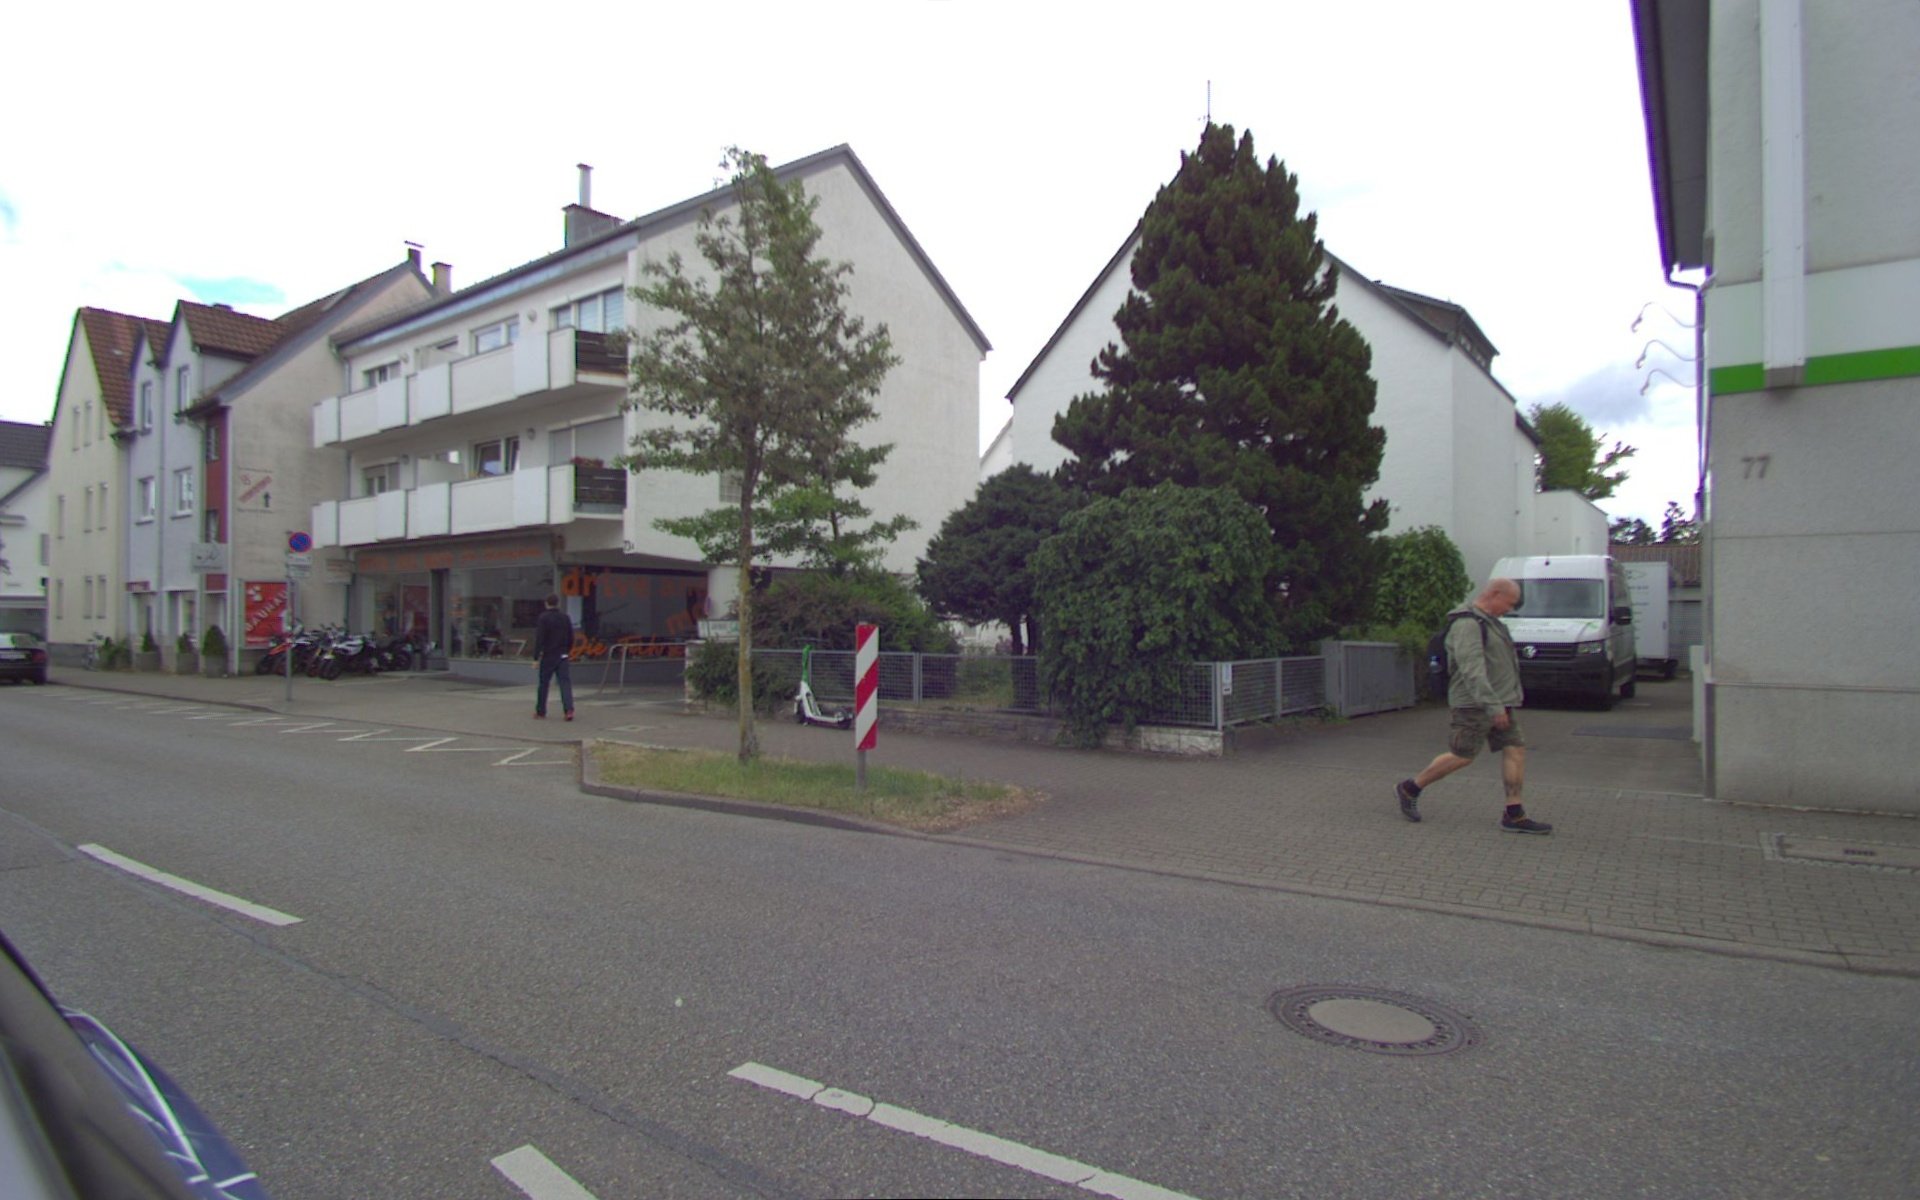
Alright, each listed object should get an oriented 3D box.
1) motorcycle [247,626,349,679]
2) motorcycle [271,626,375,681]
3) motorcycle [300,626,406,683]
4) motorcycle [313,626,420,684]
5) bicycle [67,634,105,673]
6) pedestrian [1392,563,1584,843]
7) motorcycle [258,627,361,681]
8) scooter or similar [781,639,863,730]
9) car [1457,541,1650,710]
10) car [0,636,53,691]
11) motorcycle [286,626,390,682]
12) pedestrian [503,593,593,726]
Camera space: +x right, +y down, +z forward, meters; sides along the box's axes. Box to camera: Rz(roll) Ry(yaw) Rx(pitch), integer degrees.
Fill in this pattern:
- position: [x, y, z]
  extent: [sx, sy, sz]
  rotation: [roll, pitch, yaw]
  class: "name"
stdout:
- position: [-17.965, 1.395, 27.515]
  extent: [0.612, 1.275, 2.205]
  rotation: [-1, 1, 36]
  class: "motorcycle"
- position: [-16.760, 1.379, 26.677]
  extent: [0.698, 1.275, 2.205]
  rotation: [-1, 1, 36]
  class: "motorcycle"
- position: [-15.353, 1.351, 25.649]
  extent: [0.612, 1.275, 2.205]
  rotation: [-1, 1, 36]
  class: "motorcycle"
- position: [-14.664, 1.335, 25.081]
  extent: [0.612, 1.275, 2.205]
  rotation: [-1, 1, 36]
  class: "motorcycle"
- position: [-28.348, 1.728, 32.828]
  extent: [2.020, 1.205, 0.509]
  rotation: [-1, -1, 37]
  class: "bicycle"
- position: [3.623, 0.644, 6.943]
  extent: [1.018, 1.756, 0.744]
  rotation: [-1, 1, 38]
  class: "pedestrian"
- position: [-17.403, 1.407, 27.131]
  extent: [0.612, 1.275, 2.205]
  rotation: [-1, 1, 36]
  class: "motorcycle"
- position: [-1.811, 1.082, 13.227]
  extent: [1.178, 1.120, 0.336]
  rotation: [-1, -1, 38]
  class: "scooter or similar"
- position: [10.366, 0.463, 17.463]
  extent: [1.999, 2.483, 5.245]
  rotation: [-1, -3, 40]
  class: "car"
- position: [-26.566, 1.696, 27.701]
  extent: [4.333, 1.428, 1.771]
  rotation: [-1, -2, 37]
  class: "car"
- position: [-16.045, 1.366, 26.163]
  extent: [0.612, 1.275, 2.205]
  rotation: [-1, 1, 36]
  class: "motorcycle"
- position: [-6.095, 0.854, 14.967]
  extent: [1.018, 1.863, 0.744]
  rotation: [-1, 2, 38]
  class: "pedestrian"
